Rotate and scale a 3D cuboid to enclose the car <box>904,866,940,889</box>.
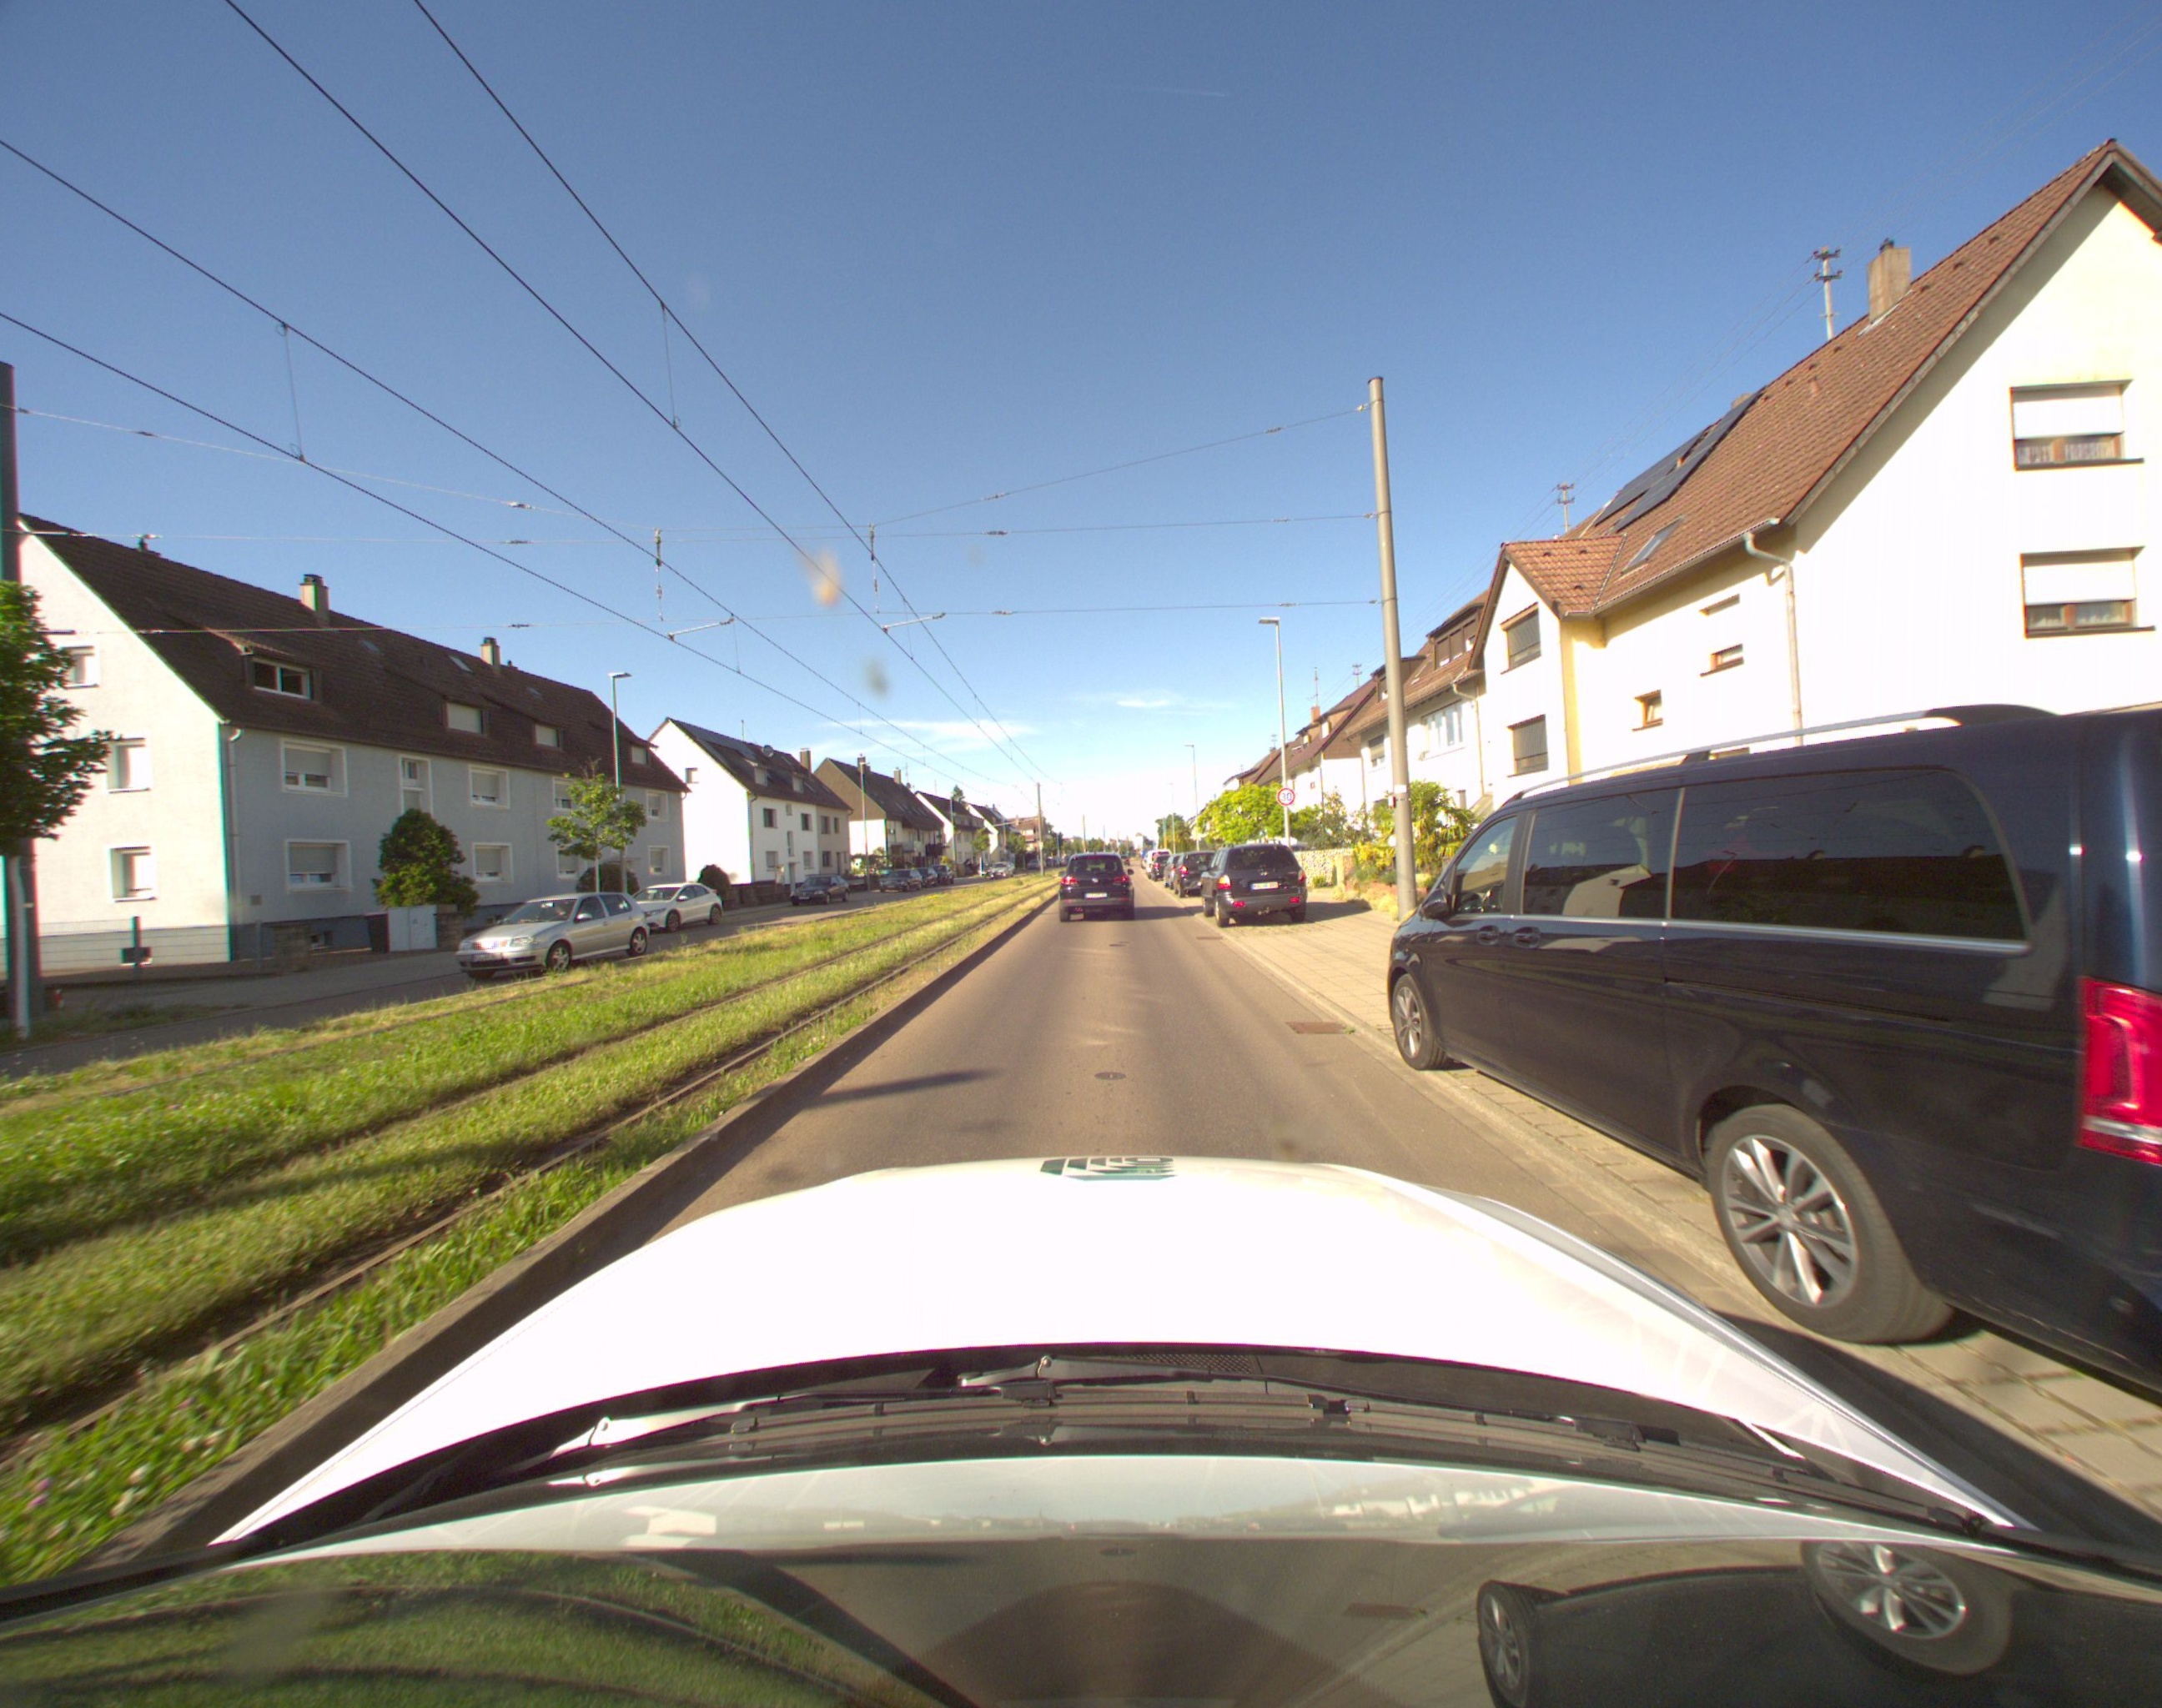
[{"bbox_3d":[-11.476,1.688,59.092,1.514,1.475,4.205,-3,0,3],"label":"car"}]

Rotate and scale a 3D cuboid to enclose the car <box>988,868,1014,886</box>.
[{"bbox_3d":[-7.230,2.119,74.113,1.701,1.490,4.027,-3,-2,3],"label":"car"}]

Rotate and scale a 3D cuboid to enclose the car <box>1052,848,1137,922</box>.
[{"bbox_3d":[0.244,0.749,21.112,1.808,1.671,4.251,-1,-1,-4],"label":"car"}]

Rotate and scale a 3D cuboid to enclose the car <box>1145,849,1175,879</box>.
[{"bbox_3d":[5.063,0.611,52.589,1.682,1.776,4.660,-3,0,3],"label":"car"}]

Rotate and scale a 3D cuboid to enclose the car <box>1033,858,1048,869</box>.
[{"bbox_3d":[-6.302,1.463,127.993,1.795,1.631,4.004,-3,0,3],"label":"car"}]

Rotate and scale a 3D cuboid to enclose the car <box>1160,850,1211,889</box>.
[{"bbox_3d":[4.353,0.645,34.600,1.610,1.475,4.450,-3,-1,1],"label":"car"}]

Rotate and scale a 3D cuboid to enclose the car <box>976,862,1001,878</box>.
[{"bbox_3d":[-9.752,1.664,86.021,1.610,1.453,3.726,-3,0,8],"label":"car"}]

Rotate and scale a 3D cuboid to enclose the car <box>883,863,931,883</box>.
[{"bbox_3d":[-16.782,1.843,78.733,4.154,1.616,1.758,-3,0,-2],"label":"car"}]

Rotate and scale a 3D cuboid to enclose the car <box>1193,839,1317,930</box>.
[{"bbox_3d":[3.673,0.600,18.011,1.847,1.659,4.475,-3,0,2],"label":"car"}]

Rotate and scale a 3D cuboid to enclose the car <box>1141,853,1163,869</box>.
[{"bbox_3d":[6.915,0.669,79.491,1.780,1.441,4.460,-5,0,1],"label":"car"}]

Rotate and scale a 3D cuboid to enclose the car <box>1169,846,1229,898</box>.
[{"bbox_3d":[4.055,0.597,28.542,1.659,1.547,3.839,-5,0,4],"label":"car"}]

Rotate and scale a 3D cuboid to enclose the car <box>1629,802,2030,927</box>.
[{"bbox_3d":[10.873,0.135,12.083,4.150,1.467,1.900,-4,0,1],"label":"car"}]

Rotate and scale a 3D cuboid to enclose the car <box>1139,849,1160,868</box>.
[{"bbox_3d":[7.212,0.492,85.864,1.985,1.862,4.921,-3,0,3],"label":"car"}]

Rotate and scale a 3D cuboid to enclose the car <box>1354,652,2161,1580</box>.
[{"bbox_3d":[3.135,0.475,4.067,1.954,1.836,4.929,-3,0,2],"label":"car"}]

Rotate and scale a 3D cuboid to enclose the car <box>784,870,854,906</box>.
[{"bbox_3d":[-12.567,1.610,39.343,1.783,1.462,4.170,-3,0,3],"label":"car"}]

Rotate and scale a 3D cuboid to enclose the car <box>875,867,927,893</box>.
[{"bbox_3d":[-11.800,1.693,53.660,1.868,1.523,4.888,-2,0,5],"label":"car"}]

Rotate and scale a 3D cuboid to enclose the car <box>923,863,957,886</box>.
[{"bbox_3d":[-11.151,1.601,64.609,1.797,1.597,4.811,-3,0,0],"label":"car"}]

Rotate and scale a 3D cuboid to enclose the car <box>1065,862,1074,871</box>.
[{"bbox_3d":[-2.279,2.543,166.861,1.459,1.677,3.290,-3,-1,3],"label":"car"}]

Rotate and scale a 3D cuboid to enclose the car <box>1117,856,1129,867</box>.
[{"bbox_3d":[5.666,0.988,110.708,1.566,1.391,3.617,-3,0,3],"label":"car"}]

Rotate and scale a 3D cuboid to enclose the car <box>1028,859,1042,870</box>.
[{"bbox_3d":[-6.888,1.533,121.848,1.652,1.496,3.583,-3,0,3],"label":"car"}]

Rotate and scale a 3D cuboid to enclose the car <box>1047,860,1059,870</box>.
[{"bbox_3d":[-4.921,1.909,144.164,1.653,1.581,4.003,-3,-2,3],"label":"car"}]

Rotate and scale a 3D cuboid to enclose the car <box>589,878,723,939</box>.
[{"bbox_3d":[-13.047,1.621,25.332,1.685,1.518,4.218,-3,0,3],"label":"car"}]

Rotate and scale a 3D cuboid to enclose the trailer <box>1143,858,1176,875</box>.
[{"bbox_3d":[5.978,0.939,62.760,2.195,1.093,4.374,-5,0,2],"label":"trailer"}]

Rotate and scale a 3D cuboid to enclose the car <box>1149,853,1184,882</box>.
[{"bbox_3d":[4.841,0.751,46.399,1.664,1.453,4.128,-3,-1,3],"label":"car"}]

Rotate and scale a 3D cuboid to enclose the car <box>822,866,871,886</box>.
[{"bbox_3d":[-22.675,2.110,78.848,4.138,1.654,1.860,-3,0,5],"label":"car"}]

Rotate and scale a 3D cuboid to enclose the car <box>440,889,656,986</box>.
[{"bbox_3d":[-10.067,1.513,15.742,1.543,1.412,3.662,-3,0,3],"label":"car"}]

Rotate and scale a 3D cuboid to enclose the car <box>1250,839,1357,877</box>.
[{"bbox_3d":[9.794,0.206,36.315,2.002,1.445,4.844,-4,0,-23],"label":"car"}]
